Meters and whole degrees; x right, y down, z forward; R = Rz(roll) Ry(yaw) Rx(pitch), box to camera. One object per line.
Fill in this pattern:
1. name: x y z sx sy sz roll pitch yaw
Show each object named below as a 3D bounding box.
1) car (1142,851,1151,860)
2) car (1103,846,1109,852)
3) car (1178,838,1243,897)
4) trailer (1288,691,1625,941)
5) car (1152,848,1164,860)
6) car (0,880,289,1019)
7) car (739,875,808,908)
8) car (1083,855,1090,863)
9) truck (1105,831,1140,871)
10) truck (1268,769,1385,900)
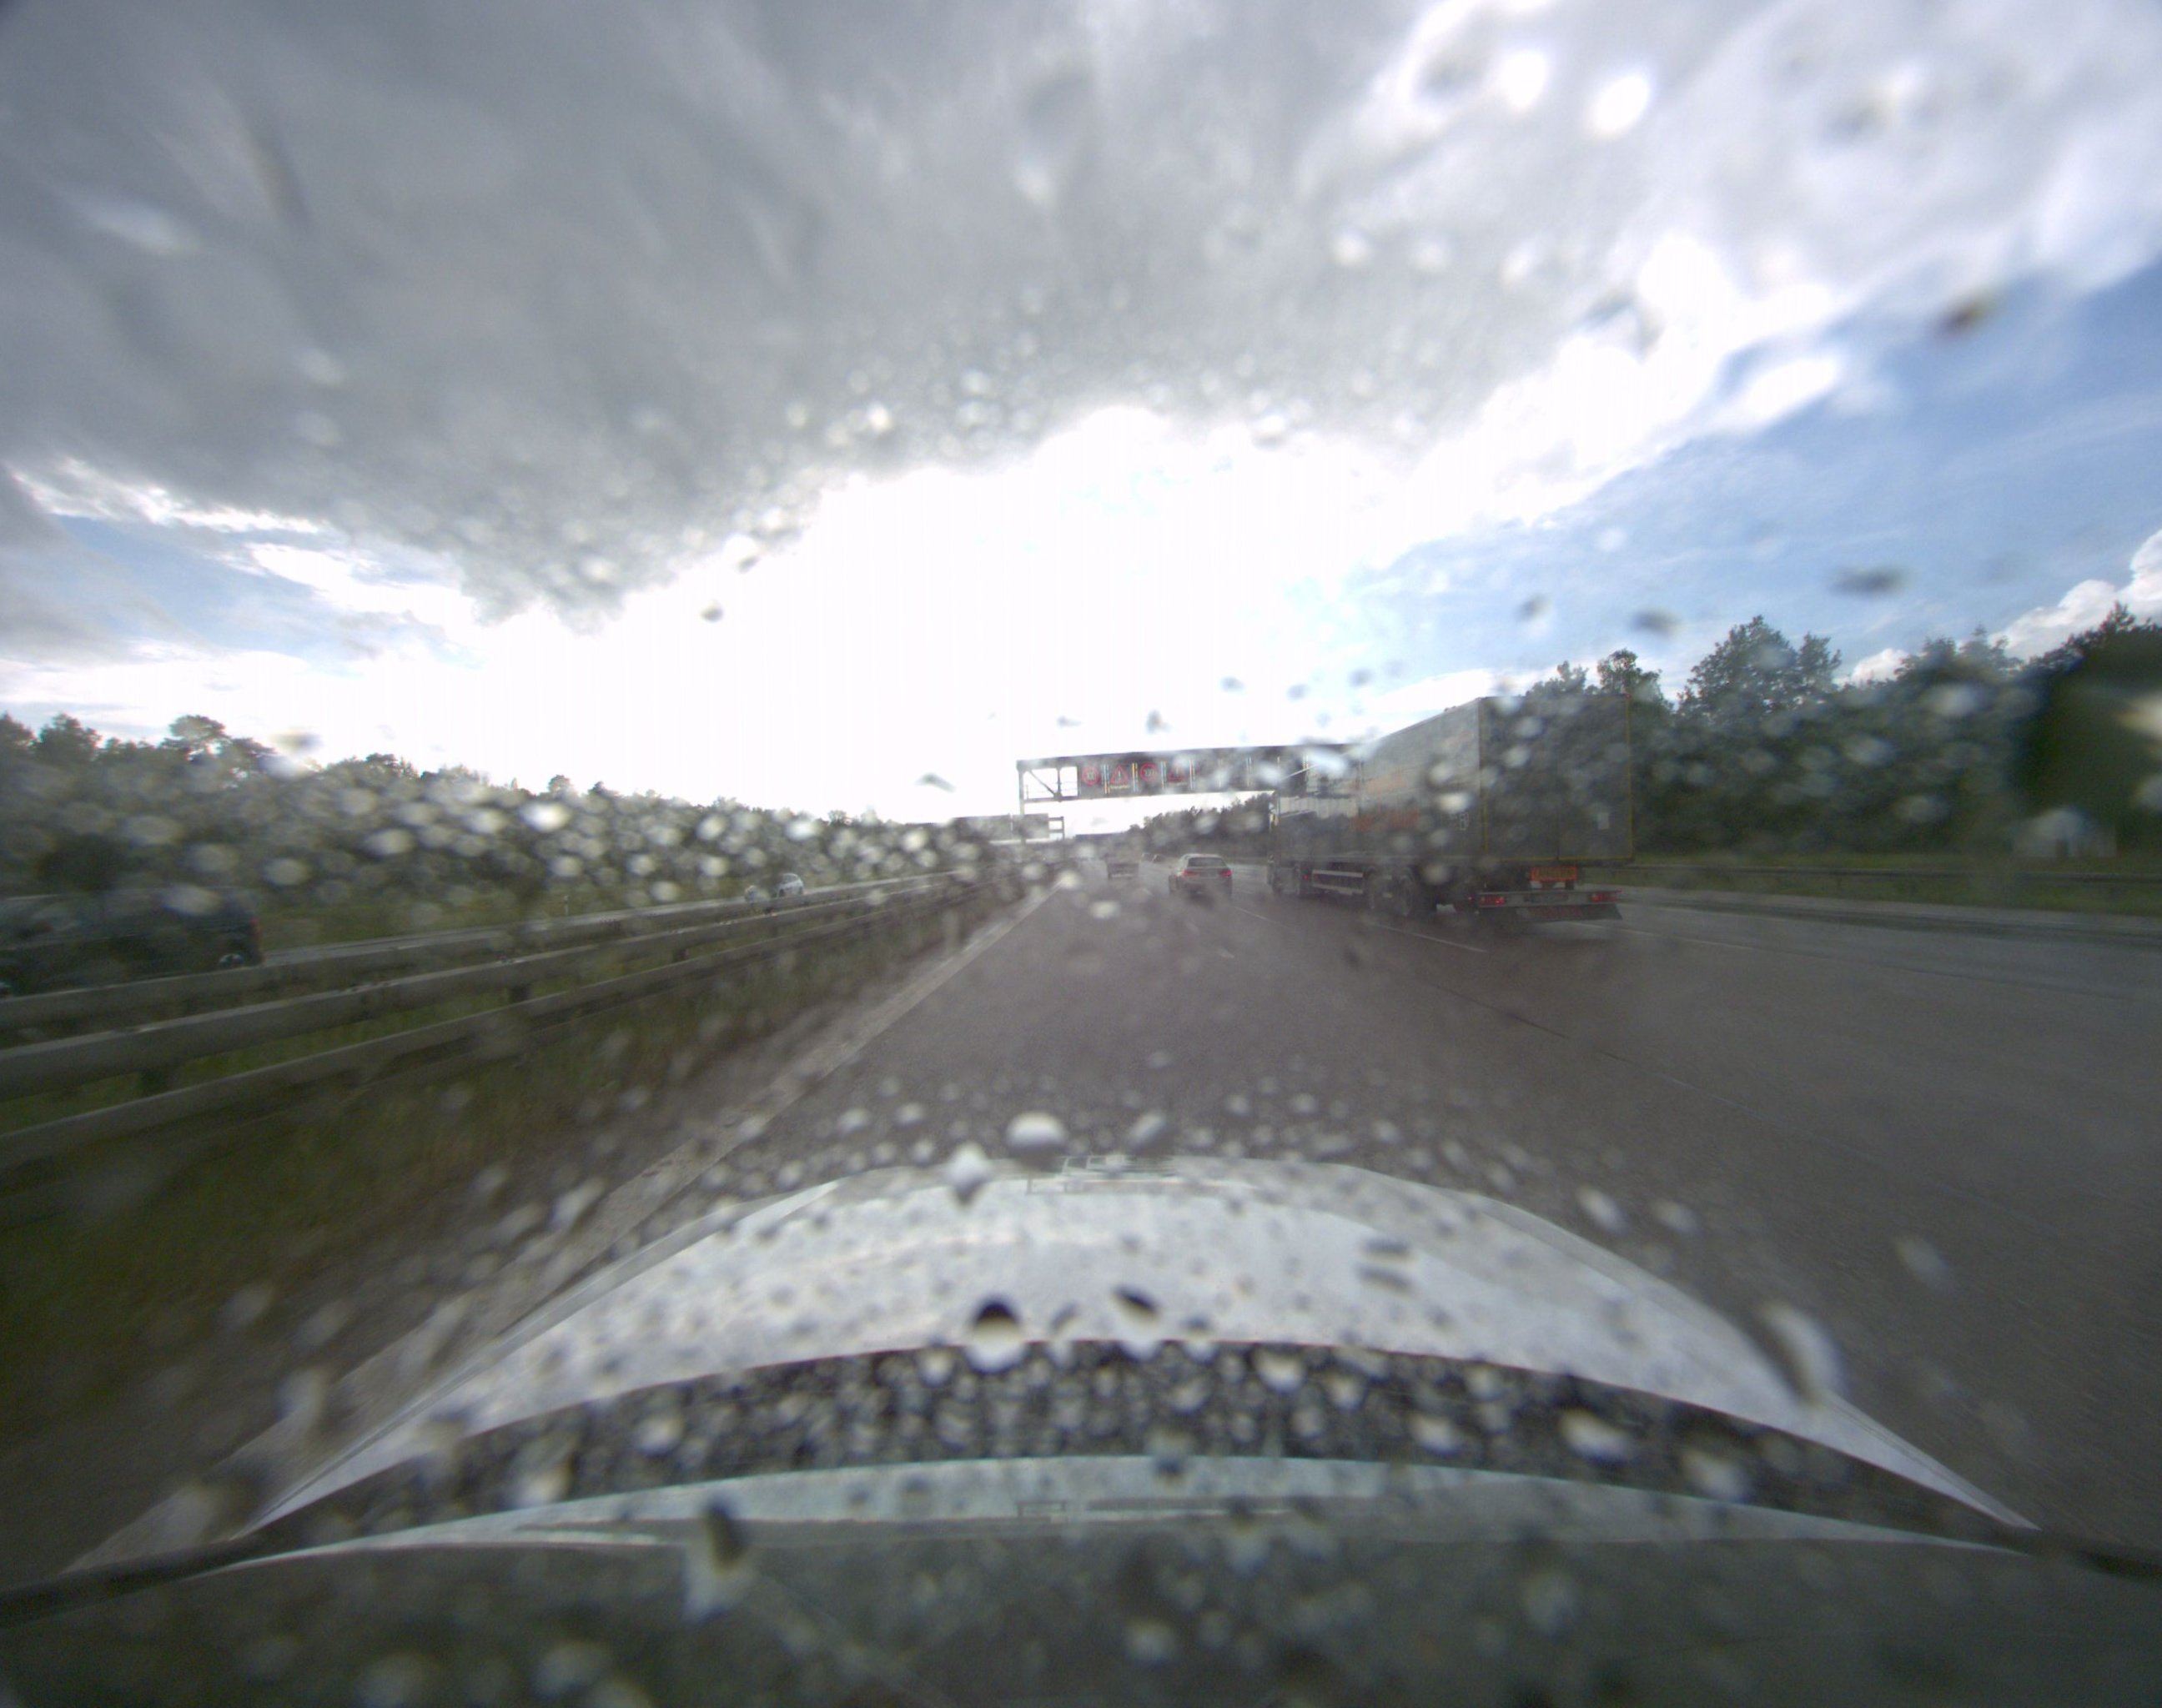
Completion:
1. car: 13.463 0.307 167.844 1.734 1.688 4.001 -1 0 1
2. car: 7.962 -1.625 258.712 1.986 2.013 4.001 0 0 1
3. car: 4.561 0.436 29.157 2.066 1.885 5.022 -2 0 7
4. trailer: 7.788 -0.626 19.918 2.315 4.001 13.416 -1 0 2
5. car: 13.308 -0.042 140.377 1.984 2.013 4.005 0 0 5
6. car: -16.913 1.544 13.881 1.986 1.917 4.725 -4 0 1
7. car: -16.102 1.922 42.862 1.843 1.445 4.321 -3 0 0
8. car: 1.407 1.328 210.427 1.611 2.013 4.001 0 0 1
9. truck: 2.782 -0.202 53.276 2.128 2.489 5.318 -1 0 4
10. truck: 7.976 -0.583 27.084 2.285 3.868 5.394 -2 0 1
